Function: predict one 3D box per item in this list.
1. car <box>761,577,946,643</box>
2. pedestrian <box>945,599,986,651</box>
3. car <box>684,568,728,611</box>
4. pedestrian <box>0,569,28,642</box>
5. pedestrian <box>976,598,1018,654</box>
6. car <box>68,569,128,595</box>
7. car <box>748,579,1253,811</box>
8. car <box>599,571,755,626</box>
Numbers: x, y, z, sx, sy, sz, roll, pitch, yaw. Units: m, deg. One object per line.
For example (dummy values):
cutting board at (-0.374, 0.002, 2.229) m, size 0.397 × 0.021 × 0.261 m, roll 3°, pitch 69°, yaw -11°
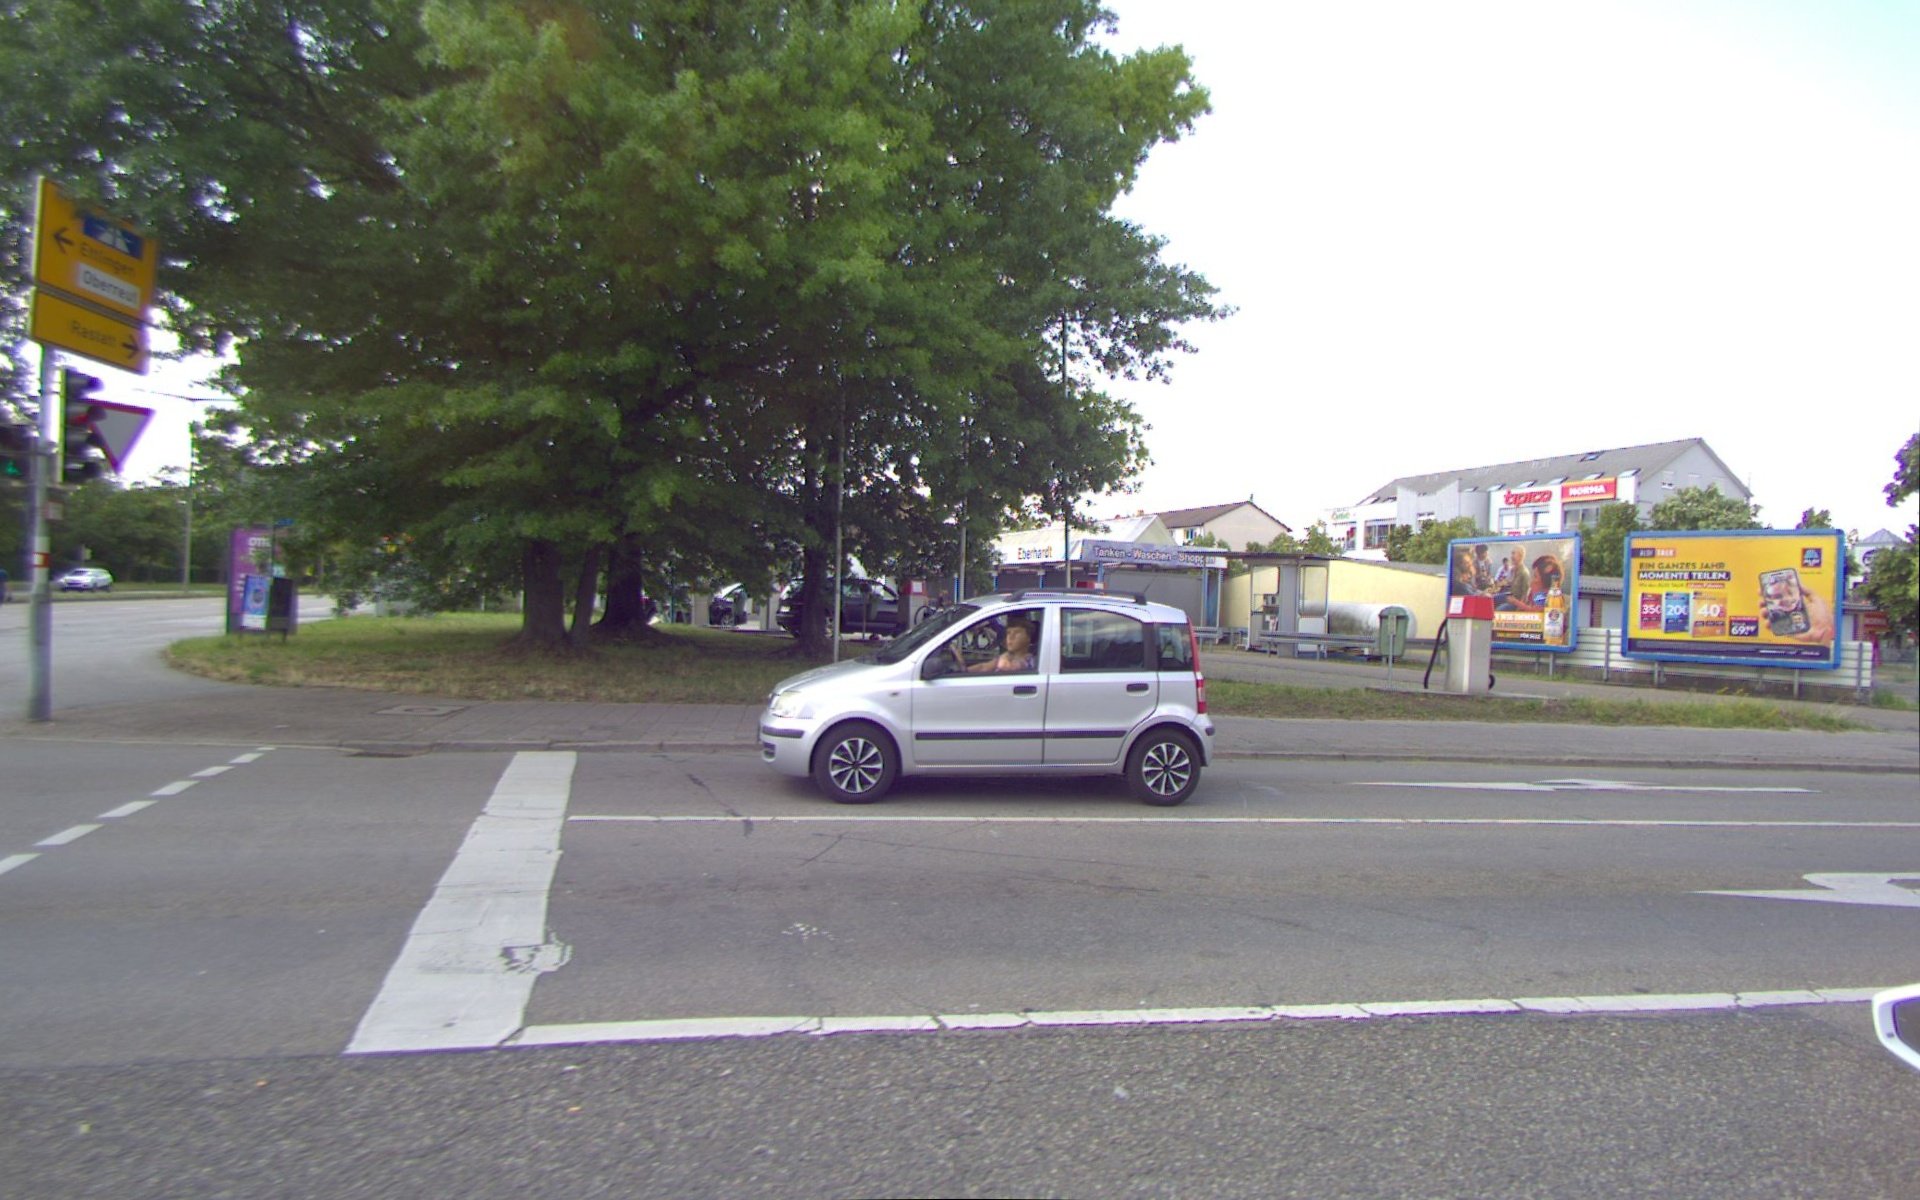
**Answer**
car at (-2.869, 0.292, 27.276) m, size 4.515 × 1.617 × 2.134 m, roll 2°, pitch 0°, yaw -33°
pedestrian at (0.136, 0.610, 24.189) m, size 0.751 × 1.205 × 0.645 m, roll 3°, pitch -2°, yaw 24°
car at (-15.996, -0.651, 63.117) m, size 1.731 × 2.486 × 5.716 m, roll 2°, pitch 0°, yaw -24°
pedestrian at (-20.836, 0.115, 21.848) m, size 0.721 × 1.552 × 0.751 m, roll 2°, pitch 0°, yaw -38°
pedestrian at (0.873, 0.616, 23.686) m, size 0.751 × 1.272 × 0.645 m, roll 3°, pitch -2°, yaw 24°
car at (-61.076, -1.220, 71.259) m, size 1.839 × 1.728 × 4.432 m, roll 2°, pitch 0°, yaw -22°
car at (0.237, 0.694, 7.771) m, size 3.544 × 1.537 × 1.556 m, roll 2°, pitch 0°, yaw -10°
car at (-10.423, -0.027, 37.148) m, size 5.142 × 1.851 × 2.134 m, roll 2°, pitch 0°, yaw -33°
